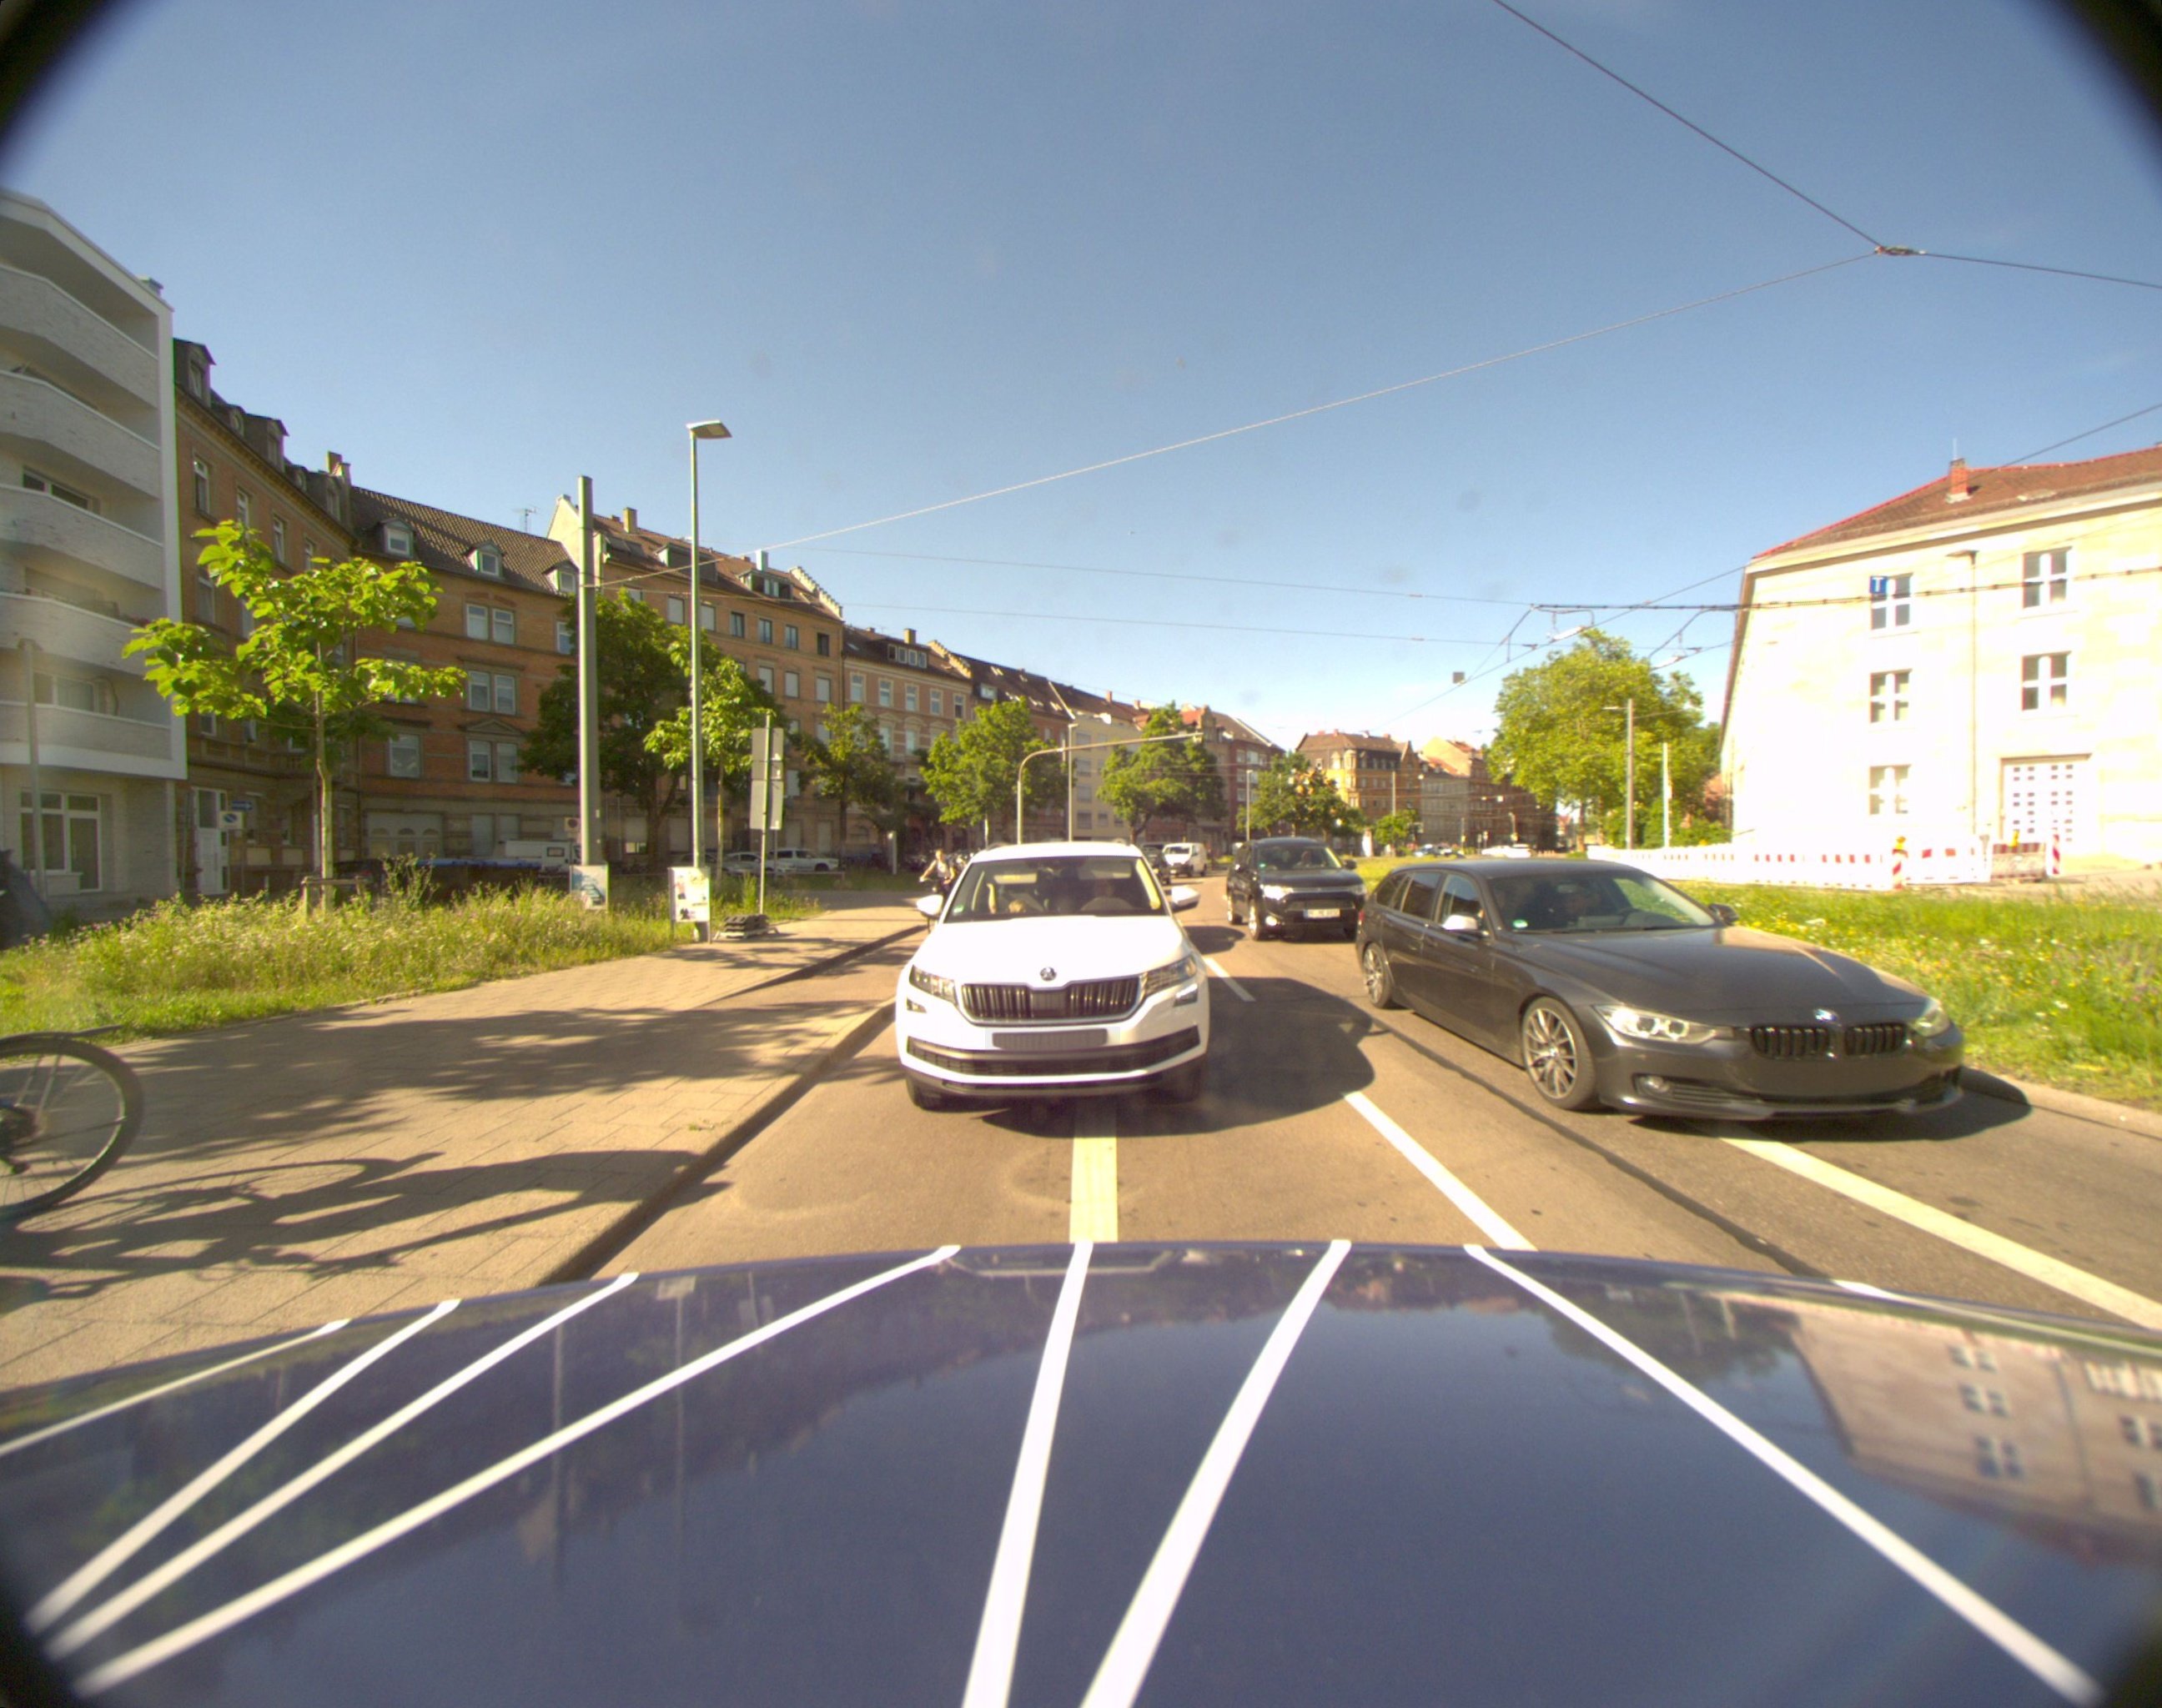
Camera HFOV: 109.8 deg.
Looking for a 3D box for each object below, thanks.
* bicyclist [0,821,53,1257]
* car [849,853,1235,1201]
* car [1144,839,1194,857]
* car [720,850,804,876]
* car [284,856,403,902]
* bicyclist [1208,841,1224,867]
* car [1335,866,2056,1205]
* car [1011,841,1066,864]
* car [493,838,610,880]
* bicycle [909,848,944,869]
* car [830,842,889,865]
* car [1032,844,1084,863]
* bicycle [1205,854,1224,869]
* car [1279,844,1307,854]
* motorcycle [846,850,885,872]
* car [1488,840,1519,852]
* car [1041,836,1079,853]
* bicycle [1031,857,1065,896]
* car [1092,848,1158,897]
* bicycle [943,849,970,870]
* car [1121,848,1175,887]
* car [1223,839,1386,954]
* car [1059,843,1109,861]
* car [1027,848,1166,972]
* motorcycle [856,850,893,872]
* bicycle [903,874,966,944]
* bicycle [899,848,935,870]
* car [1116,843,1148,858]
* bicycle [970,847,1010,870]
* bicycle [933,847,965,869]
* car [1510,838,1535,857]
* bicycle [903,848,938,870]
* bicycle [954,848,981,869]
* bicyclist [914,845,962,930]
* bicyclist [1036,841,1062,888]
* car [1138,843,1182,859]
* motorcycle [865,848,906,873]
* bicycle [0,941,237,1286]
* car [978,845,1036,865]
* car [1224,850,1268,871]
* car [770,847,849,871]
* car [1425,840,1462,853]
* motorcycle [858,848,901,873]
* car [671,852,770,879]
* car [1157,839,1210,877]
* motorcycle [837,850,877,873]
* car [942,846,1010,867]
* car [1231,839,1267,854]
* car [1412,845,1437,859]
[{"bbox_3d":[-4.413,0.695,2.524,0.630,1.619,0.972,-1,1,13],"label":"bicyclist"},{"bbox_3d":[-0.227,0.851,5.952,1.842,1.636,4.397,-2,0,-1],"label":"car"},{"bbox_3d":[8.195,-0.589,70.612,4.578,1.658,1.600,0,1,7],"label":"car"},{"bbox_3d":[-16.408,0.439,39.107,3.696,1.244,1.683,0,1,13],"label":"car"},{"bbox_3d":[-26.168,0.828,27.149,1.835,1.419,4.378,-1,1,-27],"label":"car"},{"bbox_3d":[10.385,-0.023,58.511,0.847,2.002,1.198,0,1,29],"label":"bicyclist"},{"bbox_3d":[3.479,0.846,5.597,1.741,1.359,4.426,-2,0,1],"label":"car"},{"bbox_3d":[-3.109,-0.137,56.106,3.825,1.698,1.682,0,1,3],"label":"car"},{"bbox_3d":[-27.118,0.216,39.011,2.047,2.026,4.510,1,2,41],"label":"car"},{"bbox_3d":[-9.511,0.279,46.714,2.198,1.260,0.664,-2,1,32],"label":"bicycle"},{"bbox_3d":[-15.612,-0.056,53.673,1.547,1.578,3.709,1,2,41],"label":"car"},{"bbox_3d":[-1.778,-0.054,58.715,3.823,1.398,1.600,0,1,6],"label":"car"},{"bbox_3d":[10.258,0.563,58.340,0.763,1.138,2.287,0,1,29],"label":"bicycle"},{"bbox_3d":[35.860,-0.916,128.572,4.058,1.647,1.770,1,2,34],"label":"car"},{"bbox_3d":[-12.941,0.415,45.627,2.314,1.276,0.664,-2,1,24],"label":"motorcycle"},{"bbox_3d":[62.740,-1.218,112.823,3.989,1.641,1.866,-2,1,31],"label":"car"},{"bbox_3d":[-1.942,-0.942,71.668,1.547,1.578,3.607,1,2,41],"label":"car"},{"bbox_3d":[-1.177,0.801,27.704,0.736,1.353,2.077,-1,1,11],"label":"bicycle"},{"bbox_3d":[1.643,0.596,26.960,1.838,1.543,4.151,0,1,10],"label":"car"},{"bbox_3d":[-7.687,0.340,46.762,0.664,1.260,2.199,-3,1,-36],"label":"bicycle"},{"bbox_3d":[3.123,0.555,34.869,1.837,1.637,4.152,0,1,14],"label":"car"},{"bbox_3d":[3.698,0.623,13.401,1.841,1.636,4.399,-2,0,5],"label":"car"},{"bbox_3d":[0.258,-0.160,61.167,3.823,1.398,1.600,0,1,6],"label":"car"},{"bbox_3d":[0.236,0.759,12.611,1.842,1.636,4.397,-2,0,1],"label":"car"},{"bbox_3d":[-12.603,0.401,46.406,2.199,1.260,0.664,-2,1,24],"label":"motorcycle"},{"bbox_3d":[-2.809,1.021,14.824,0.668,1.190,2.155,-1,1,4],"label":"bicycle"},{"bbox_3d":[-9.744,0.306,45.072,2.198,1.260,0.664,-2,1,30],"label":"bicycle"},{"bbox_3d":[5.465,-0.421,80.731,1.547,1.578,3.607,1,2,41],"label":"car"},{"bbox_3d":[-5.477,0.267,45.741,2.207,1.260,0.662,-3,1,-25],"label":"bicycle"},{"bbox_3d":[-7.730,0.239,44.520,0.664,1.260,2.198,-3,1,-45],"label":"bicycle"},{"bbox_3d":[39.135,-0.571,67.345,1.821,1.636,4.190,-1,0,30],"label":"car"},{"bbox_3d":[-9.708,0.294,46.011,2.198,1.260,0.664,-2,1,32],"label":"bicycle"},{"bbox_3d":[-7.124,0.307,47.756,0.664,1.260,2.199,-3,1,-36],"label":"bicycle"},{"bbox_3d":[-2.797,0.632,14.929,0.668,1.619,0.971,-1,1,5],"label":"bicyclist"},{"bbox_3d":[-1.151,0.387,27.746,0.735,1.685,0.972,-1,1,11],"label":"bicyclist"},{"bbox_3d":[7.124,-0.249,68.182,3.823,1.372,1.600,0,1,9],"label":"car"},{"bbox_3d":[-11.149,0.357,43.295,2.200,1.315,0.664,-2,1,18],"label":"motorcycle"},{"bbox_3d":[-4.416,1.012,2.475,0.637,1.190,2.156,-1,1,13],"label":"bicycle"},{"bbox_3d":[-5.229,0.087,53.967,3.822,1.398,1.683,0,1,9],"label":"car"},{"bbox_3d":[12.834,0.456,58.914,1.836,1.464,4.722,1,1,31],"label":"car"},{"bbox_3d":[-14.682,0.255,41.196,3.700,1.244,1.540,0,1,2],"label":"car"},{"bbox_3d":[54.091,-1.133,113.527,2.003,1.864,4.580,-3,1,-32],"label":"car"},{"bbox_3d":[-11.179,0.374,42.209,2.200,1.322,0.663,-2,1,13],"label":"motorcycle"},{"bbox_3d":[-17.500,0.533,36.908,4.156,1.244,1.683,0,1,13],"label":"car"},{"bbox_3d":[6.024,0.188,44.134,1.979,2.074,4.720,0,1,22],"label":"car"},{"bbox_3d":[-13.290,0.438,45.021,2.314,1.270,0.664,-2,1,24],"label":"motorcycle"},{"bbox_3d":[-7.044,0.175,51.298,4.322,1.398,1.682,0,1,3],"label":"car"},{"bbox_3d":[18.691,-0.820,84.662,3.823,1.581,1.600,0,1,6],"label":"car"},{"bbox_3d":[42.689,-0.294,94.339,1.835,1.637,4.157,1,2,40],"label":"car"}]
